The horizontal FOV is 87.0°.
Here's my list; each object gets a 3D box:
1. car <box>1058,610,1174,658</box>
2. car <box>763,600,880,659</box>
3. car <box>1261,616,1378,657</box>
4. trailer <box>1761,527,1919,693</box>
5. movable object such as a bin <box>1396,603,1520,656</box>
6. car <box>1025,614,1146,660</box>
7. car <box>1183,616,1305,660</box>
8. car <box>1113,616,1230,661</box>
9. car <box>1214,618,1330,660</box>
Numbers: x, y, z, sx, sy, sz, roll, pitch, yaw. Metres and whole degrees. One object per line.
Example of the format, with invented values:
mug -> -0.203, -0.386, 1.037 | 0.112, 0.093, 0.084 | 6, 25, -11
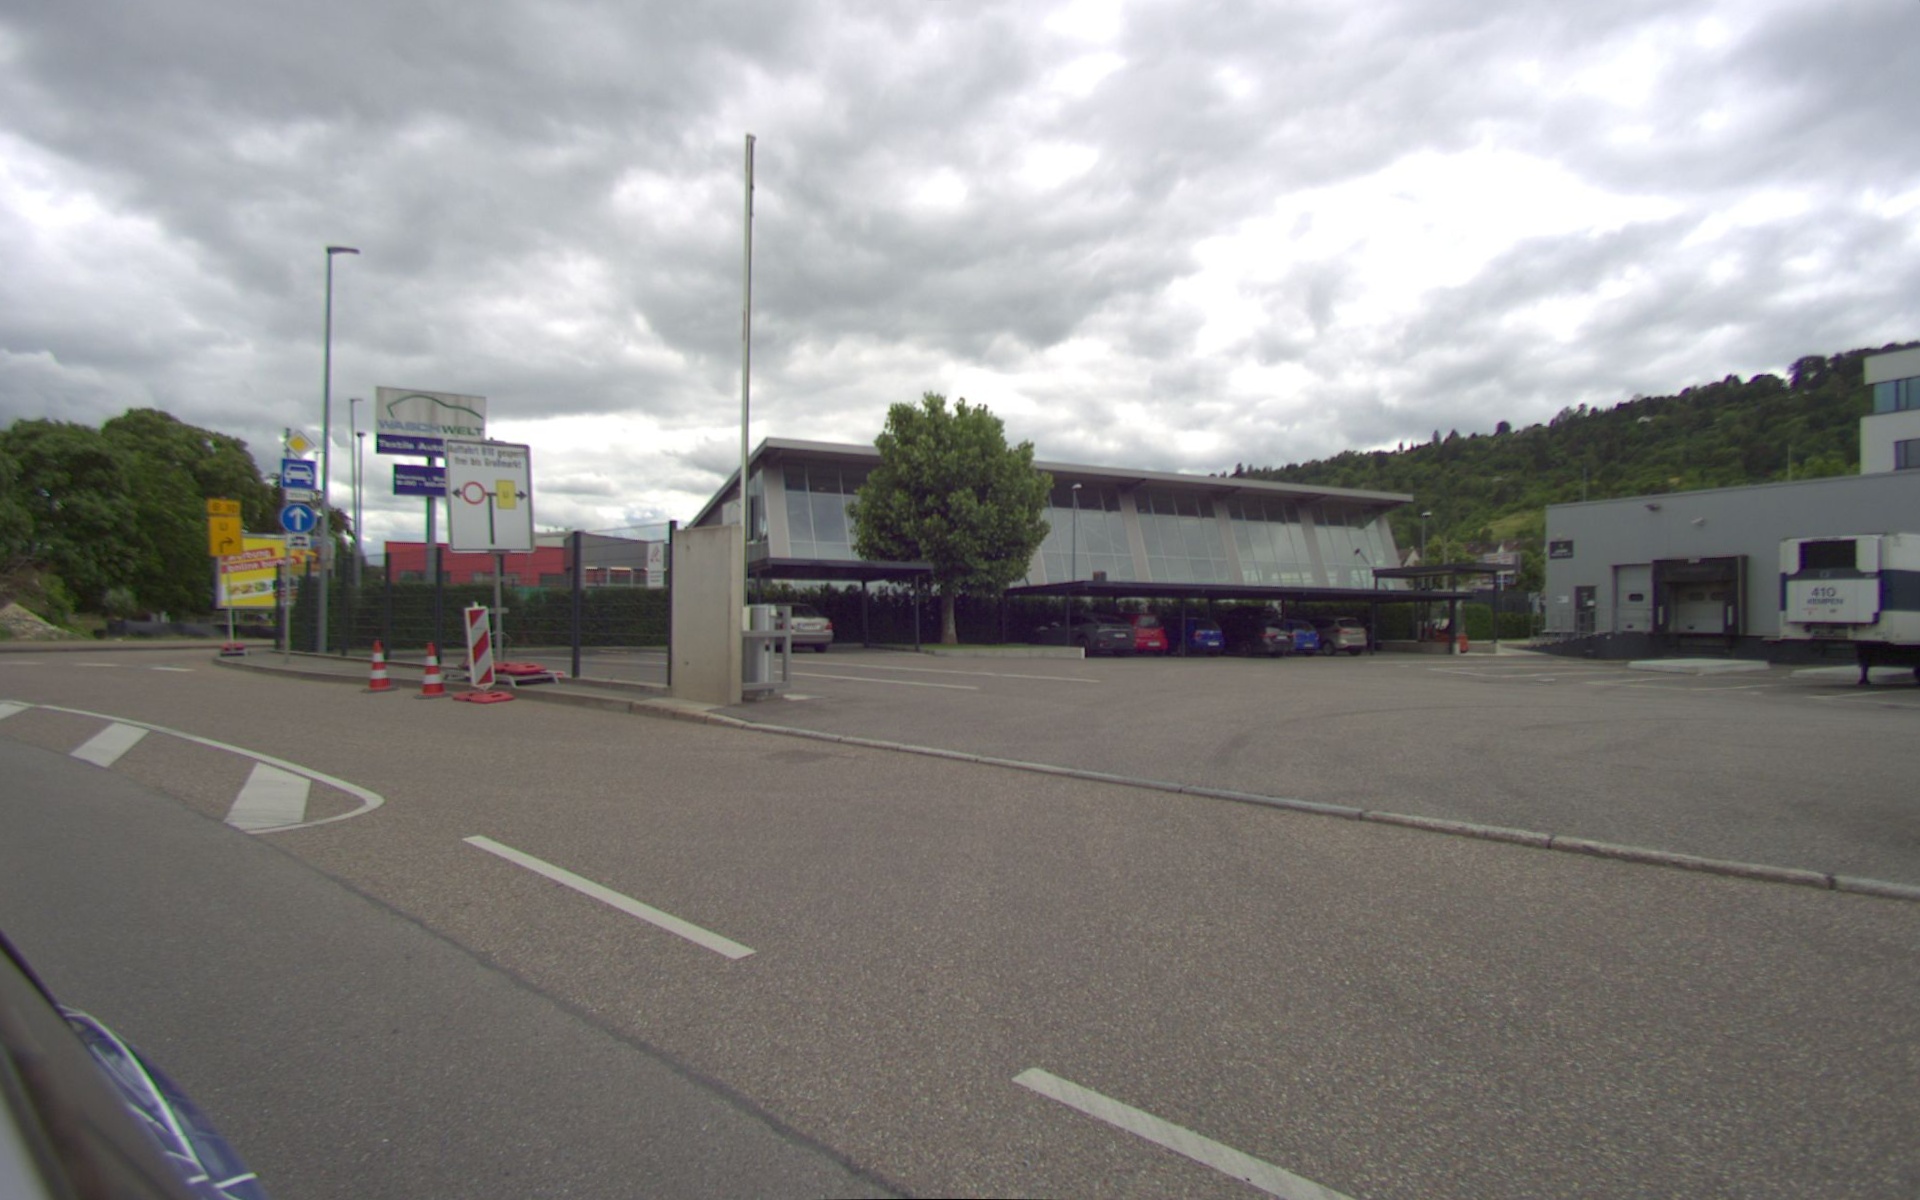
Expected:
car -> 5.660, 1.207, 37.136 | 1.934, 1.660, 4.260 | 1, -1, -31
car -> -4.323, 0.872, 31.099 | 2.039, 1.682, 4.260 | 1, -1, -31
car -> 14.730, 1.457, 41.655 | 1.934, 1.571, 4.260 | 1, -1, -31
trailer -> 27.706, 0.327, 28.765 | 11.211, 4.109, 3.101 | 1, -1, -26
movable object such as a bin -> 22.217, 1.309, 45.317 | 2.045, 2.243, 4.614 | 1, -1, -31
car -> 4.273, 1.241, 35.099 | 1.934, 1.503, 4.260 | 1, -1, -31
car -> 10.674, 1.406, 38.299 | 1.934, 1.571, 4.260 | 1, -1, -31
car -> 7.847, 1.392, 37.905 | 1.934, 1.571, 4.260 | 1, -1, -31
car -> 12.417, 1.508, 40.543 | 1.934, 1.571, 4.260 | 1, -1, -31
